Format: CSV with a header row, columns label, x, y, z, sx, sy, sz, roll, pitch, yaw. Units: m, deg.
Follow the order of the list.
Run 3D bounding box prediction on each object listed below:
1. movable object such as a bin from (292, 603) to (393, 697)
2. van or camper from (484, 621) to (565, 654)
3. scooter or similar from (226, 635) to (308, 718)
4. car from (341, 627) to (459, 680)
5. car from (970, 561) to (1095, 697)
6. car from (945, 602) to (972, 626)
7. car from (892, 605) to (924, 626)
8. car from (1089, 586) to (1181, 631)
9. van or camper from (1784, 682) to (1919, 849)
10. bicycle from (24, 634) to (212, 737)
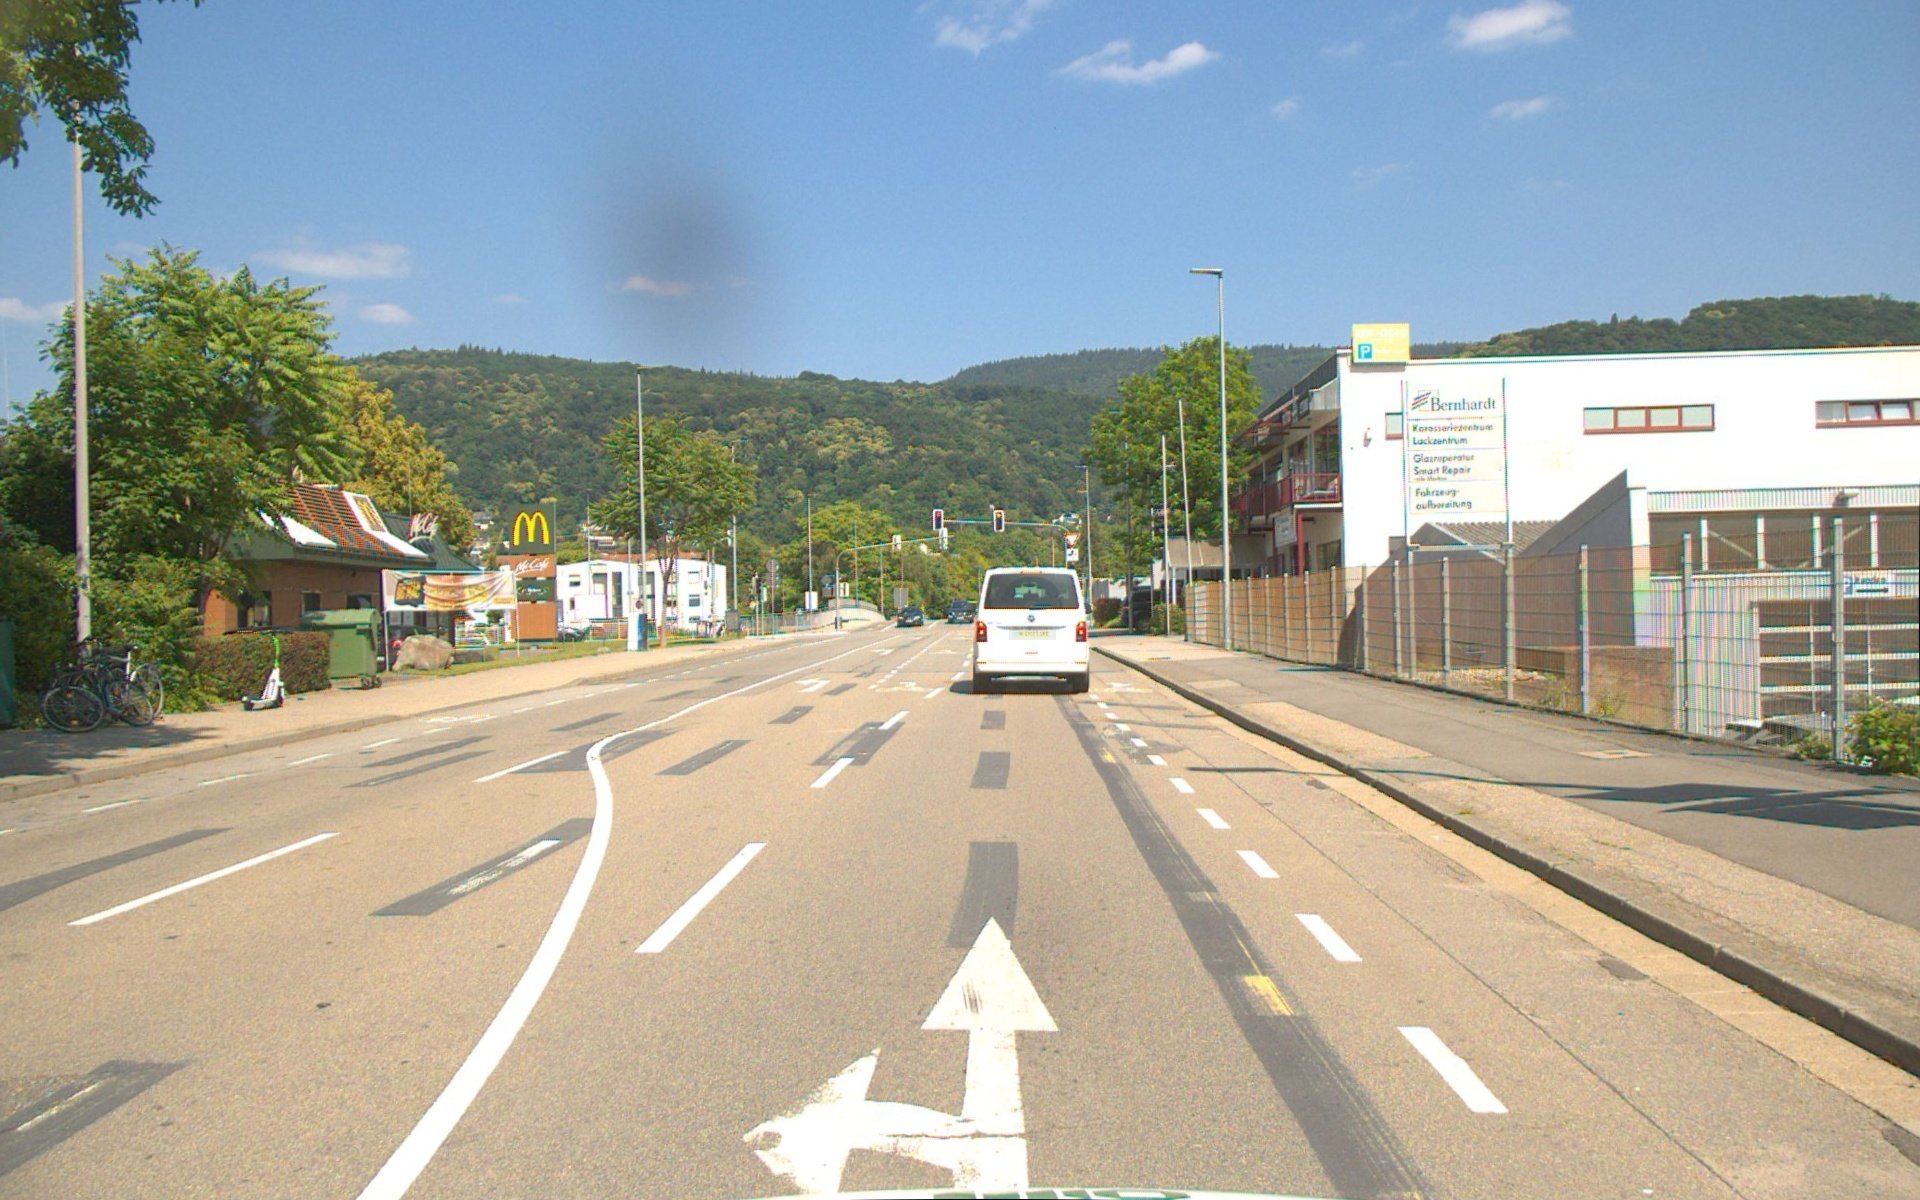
label,x,y,z,sx,sy,sz,roll,pitch,yaw
movable object such as a bin,-11.315,0.897,30.373,1.421,1.618,1.305,-2,0,-8
van or camper,-22.264,1.909,84.535,3.923,1.601,1.991,1,0,-17
scooter or similar,-10.329,1.126,24.687,0.634,1.147,1.621,1,0,-5
car,-16.810,1.584,49.835,1.952,1.441,4.131,1,0,3
car,1.128,0.435,27.785,1.895,2.095,4.544,0,0,0
car,-0.080,1.010,121.108,1.811,1.616,4.001,-2,0,1
car,-3.653,1.091,117.130,1.952,1.394,4.327,-2,0,2
car,7.666,0.380,72.305,3.902,1.806,2.002,-2,0,7
van or camper,12.077,1.818,19.006,4.227,1.680,2.019,-1,0,-3
bicycle,-10.555,1.032,20.888,1.006,1.137,2.765,1,0,-2
